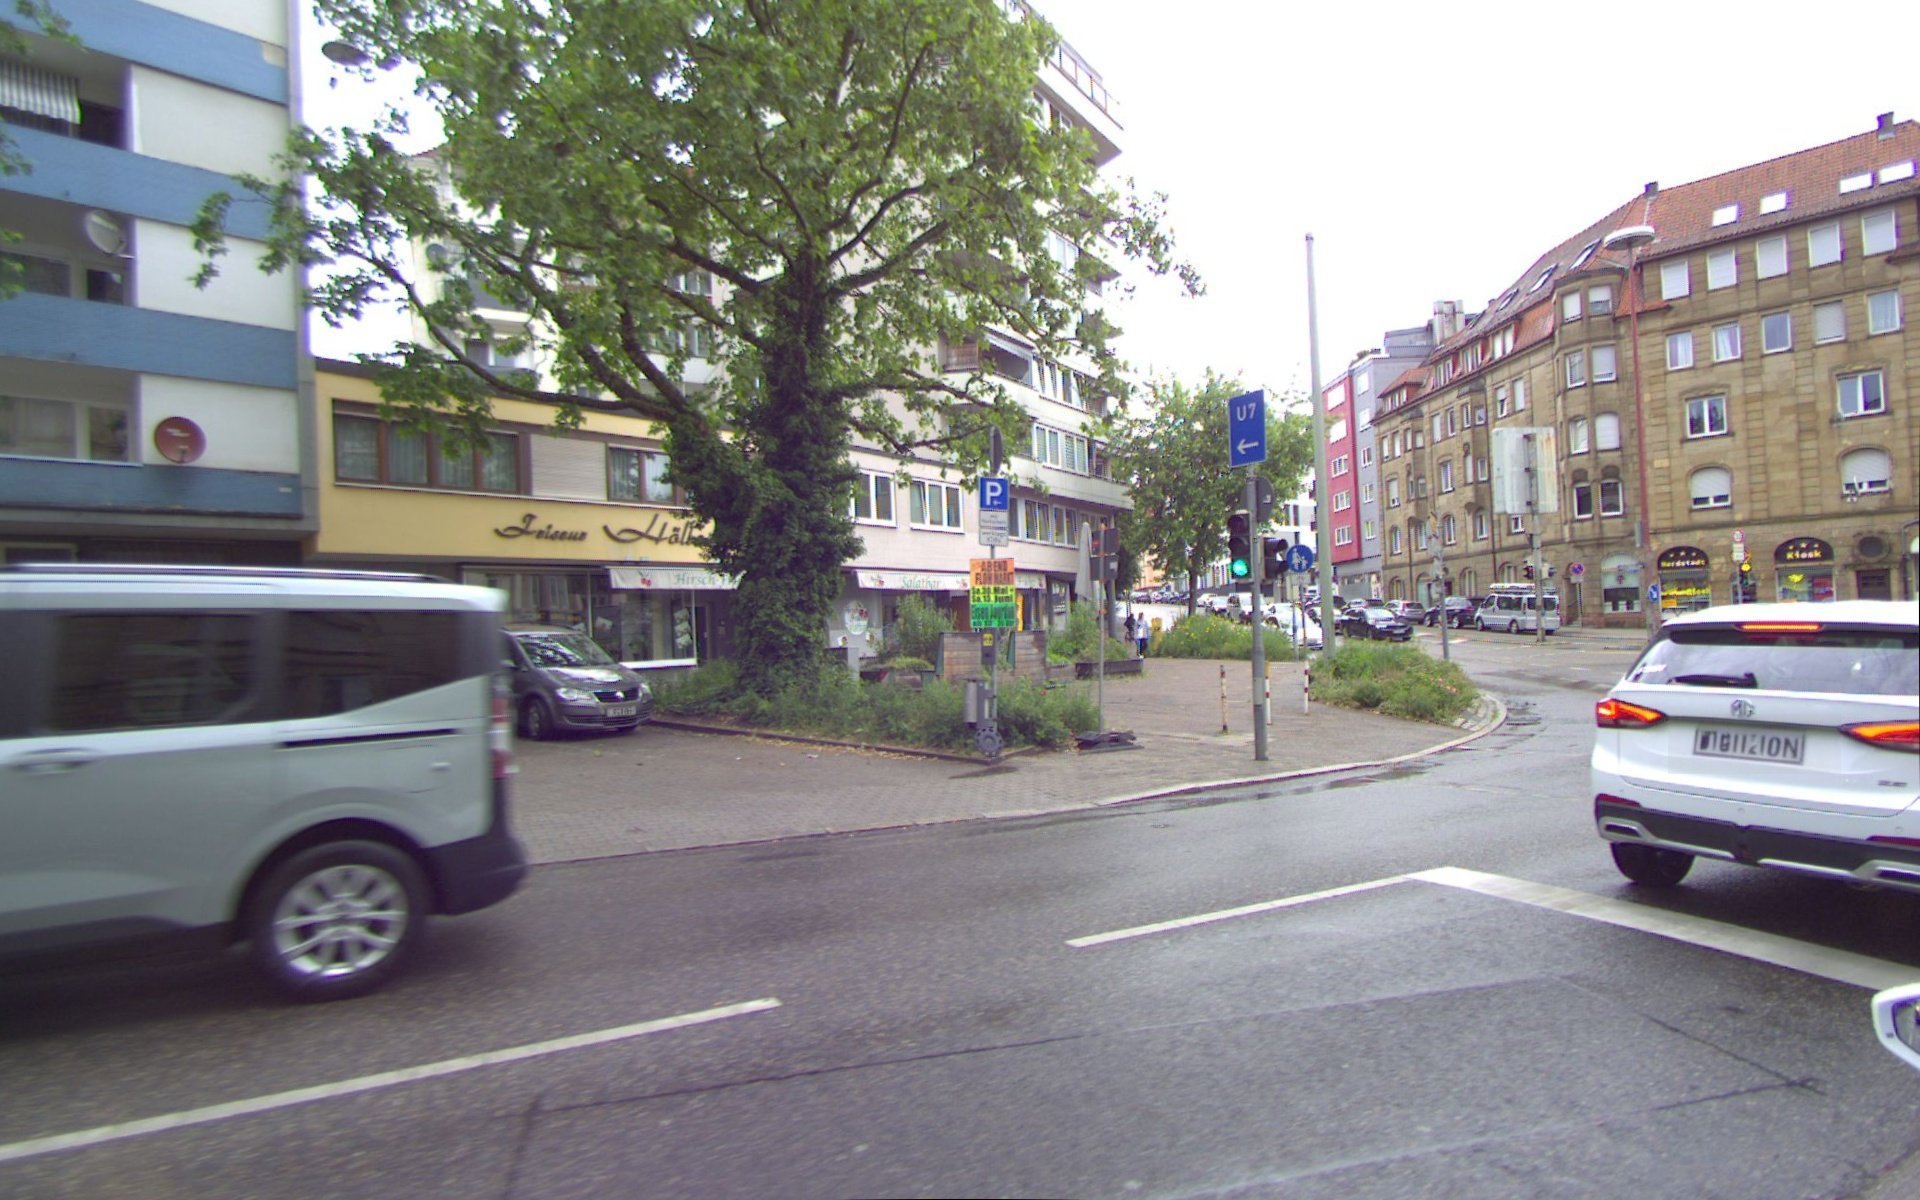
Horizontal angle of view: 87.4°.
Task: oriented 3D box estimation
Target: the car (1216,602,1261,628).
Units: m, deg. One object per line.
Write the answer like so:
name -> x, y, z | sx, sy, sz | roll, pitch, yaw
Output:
car -> 17.986, 0.981, 64.991 | 1.704, 1.558, 4.155 | 1, -1, 0

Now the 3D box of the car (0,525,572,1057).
car -> -4.043, 0.765, 4.335 | 4.193, 1.905, 1.805 | 1, -6, -31

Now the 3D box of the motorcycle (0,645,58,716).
motorcycle -> -16.550, 1.354, 16.937 | 1.946, 1.183, 0.696 | 2, -3, -41

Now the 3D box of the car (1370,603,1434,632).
car -> 27.397, 1.101, 62.449 | 1.961, 1.727, 4.214 | 0, -1, -3

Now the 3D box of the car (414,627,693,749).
car -> -6.436, 1.270, 15.840 | 4.141, 1.664, 1.938 | 0, -2, 30

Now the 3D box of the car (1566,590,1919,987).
car -> 5.596, 0.840, 5.859 | 4.329, 1.666, 1.743 | 1, -1, -31

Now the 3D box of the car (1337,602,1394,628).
car -> 27.302, 0.999, 67.714 | 1.961, 1.727, 4.214 | 0, -1, -3

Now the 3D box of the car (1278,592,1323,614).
car -> 26.800, 0.243, 79.288 | 1.961, 1.727, 4.214 | 0, -1, -3

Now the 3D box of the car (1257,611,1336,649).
car -> 14.140, 1.209, 42.459 | 1.876, 1.511, 4.393 | -1, -1, 0

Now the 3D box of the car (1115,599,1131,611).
car -> 24.723, 0.739, 152.443 | 1.665, 1.727, 4.214 | 0, -1, -3

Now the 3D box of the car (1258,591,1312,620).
car -> 18.711, 0.335, 57.970 | 1.704, 1.558, 4.302 | -2, -1, 0

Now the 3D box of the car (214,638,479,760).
car -> -8.503, 1.273, 13.884 | 3.558, 1.434, 1.628 | 0, -2, 30

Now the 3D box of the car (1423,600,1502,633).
car -> 27.399, 0.878, 54.936 | 1.961, 1.727, 4.380 | 0, -1, -3

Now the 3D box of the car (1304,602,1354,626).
car -> 27.129, 1.014, 73.941 | 1.961, 1.727, 4.214 | 0, -1, -3

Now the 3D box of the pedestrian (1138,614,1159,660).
pedestrian -> 7.063, 1.372, 37.594 | 0.613, 1.715, 0.619 | 0, 0, 25

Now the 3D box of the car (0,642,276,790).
car -> -10.022, 1.256, 12.041 | 3.643, 1.434, 1.807 | -1, -2, 34

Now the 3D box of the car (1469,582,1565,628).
car -> 27.768, 0.272, 50.278 | 1.961, 2.197, 4.802 | 0, -1, -3

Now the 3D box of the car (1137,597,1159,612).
car -> 23.014, 0.548, 123.132 | 1.665, 1.727, 4.214 | 0, -1, -3

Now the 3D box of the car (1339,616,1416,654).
car -> 18.626, 1.534, 44.998 | 1.732, 1.511, 4.024 | -2, -1, 0

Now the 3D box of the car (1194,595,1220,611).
car -> 26.862, 0.317, 109.281 | 1.665, 1.727, 4.214 | 0, -1, -3

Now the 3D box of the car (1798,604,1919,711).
car -> 15.824, 0.893, 16.438 | 3.632, 1.515, 1.711 | -1, -8, -25
